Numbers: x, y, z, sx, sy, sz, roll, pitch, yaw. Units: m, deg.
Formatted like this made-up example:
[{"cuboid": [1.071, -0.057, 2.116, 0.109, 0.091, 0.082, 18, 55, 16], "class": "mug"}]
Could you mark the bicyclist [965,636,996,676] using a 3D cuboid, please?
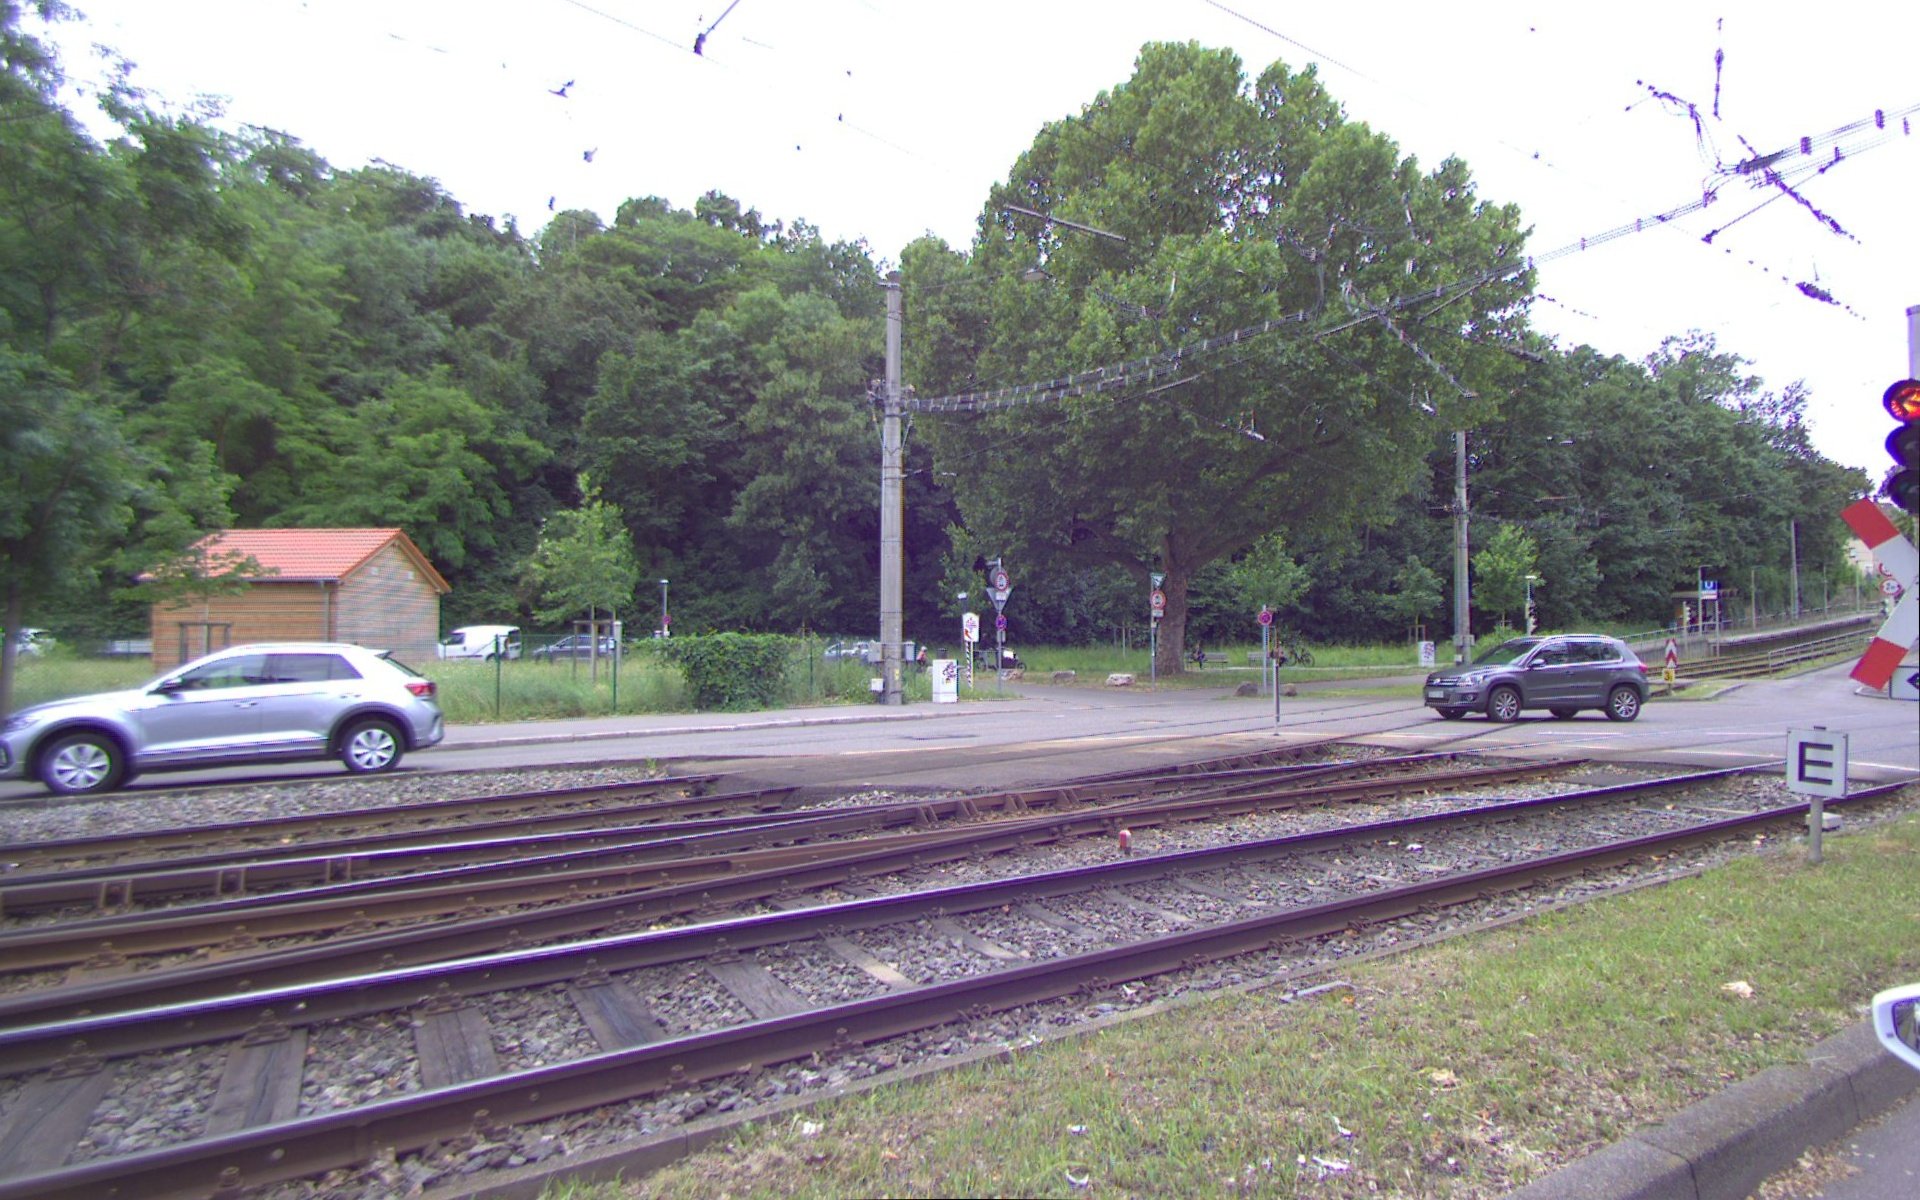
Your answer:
[{"cuboid": [0.940, 2.520, 45.328, 1.269, 1.734, 0.734, -2, 2, -8], "class": "bicyclist"}]

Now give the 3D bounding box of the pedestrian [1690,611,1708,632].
[{"cuboid": [49.119, 1.450, 66.801, 0.780, 1.344, 0.766, -1, 2, -37], "class": "pedestrian"}]

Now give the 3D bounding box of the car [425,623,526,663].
[{"cuboid": [-21.913, 1.936, 45.529, 3.610, 1.634, 1.909, 2, 0, -3], "class": "car"}]

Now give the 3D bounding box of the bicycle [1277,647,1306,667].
[{"cuboid": [16.282, 2.788, 49.362, 0.611, 0.897, 1.743, 2, 0, -10], "class": "bicycle"}]

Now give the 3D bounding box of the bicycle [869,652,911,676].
[{"cuboid": [-3.182, 2.907, 45.636, 1.907, 1.055, 0.475, 0, 1, -3], "class": "bicycle"}]

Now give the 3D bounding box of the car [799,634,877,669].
[{"cuboid": [-5.660, 2.385, 46.851, 3.436, 1.443, 1.700, 2, 0, -3], "class": "car"}]

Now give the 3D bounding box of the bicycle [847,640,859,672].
[{"cuboid": [-4.708, 2.471, 44.228, 0.506, 1.348, 0.454, -1, 2, -8], "class": "bicycle"}]

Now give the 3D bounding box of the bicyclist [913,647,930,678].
[{"cuboid": [-1.696, 2.744, 44.302, 0.575, 1.319, 0.451, -4, 3, -33], "class": "bicyclist"}]

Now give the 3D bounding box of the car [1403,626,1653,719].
[{"cuboid": [11.377, 1.473, 20.265, 4.060, 1.740, 1.904, 1, -4, -8], "class": "car"}]

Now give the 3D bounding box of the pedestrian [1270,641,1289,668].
[{"cuboid": [15.505, 2.655, 48.789, 0.662, 1.251, 0.578, 2, 0, -16], "class": "pedestrian"}]

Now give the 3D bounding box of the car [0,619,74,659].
[{"cuboid": [-41.793, 1.687, 44.368, 3.612, 1.634, 1.756, 2, 0, -6], "class": "car"}]

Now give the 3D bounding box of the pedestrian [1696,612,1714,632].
[{"cuboid": [50.016, 1.480, 67.479, 0.780, 1.344, 0.766, 2, 0, -38], "class": "pedestrian"}]

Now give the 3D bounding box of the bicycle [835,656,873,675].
[{"cuboid": [-4.661, 2.879, 44.240, 1.622, 0.749, 0.454, -1, 2, -8], "class": "bicycle"}]

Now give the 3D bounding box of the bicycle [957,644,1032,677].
[{"cuboid": [1.546, 2.709, 45.415, 3.285, 1.307, 0.734, -2, 2, -8], "class": "bicycle"}]

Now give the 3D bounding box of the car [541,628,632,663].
[{"cuboid": [-16.867, 2.038, 45.472, 3.436, 1.443, 1.700, 2, 0, -3], "class": "car"}]

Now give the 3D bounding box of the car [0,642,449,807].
[{"cuboid": [-8.322, 1.301, 11.688, 4.129, 1.599, 1.984, 1, -3, -30], "class": "car"}]

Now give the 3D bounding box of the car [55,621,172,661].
[{"cuboid": [-37.600, 1.816, 44.688, 3.610, 1.634, 1.757, 2, 0, -3], "class": "car"}]

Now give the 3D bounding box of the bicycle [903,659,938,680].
[{"cuboid": [-1.739, 3.040, 44.273, 1.542, 0.749, 0.451, -4, 3, -34], "class": "bicycle"}]

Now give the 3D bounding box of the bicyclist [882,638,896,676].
[{"cuboid": [-3.226, 2.595, 45.624, 0.611, 1.697, 0.475, 0, 1, -3], "class": "bicyclist"}]

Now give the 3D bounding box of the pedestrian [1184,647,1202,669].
[{"cuboid": [11.217, 2.803, 48.362, 0.610, 1.003, 0.530, 2, 0, -15], "class": "pedestrian"}]
